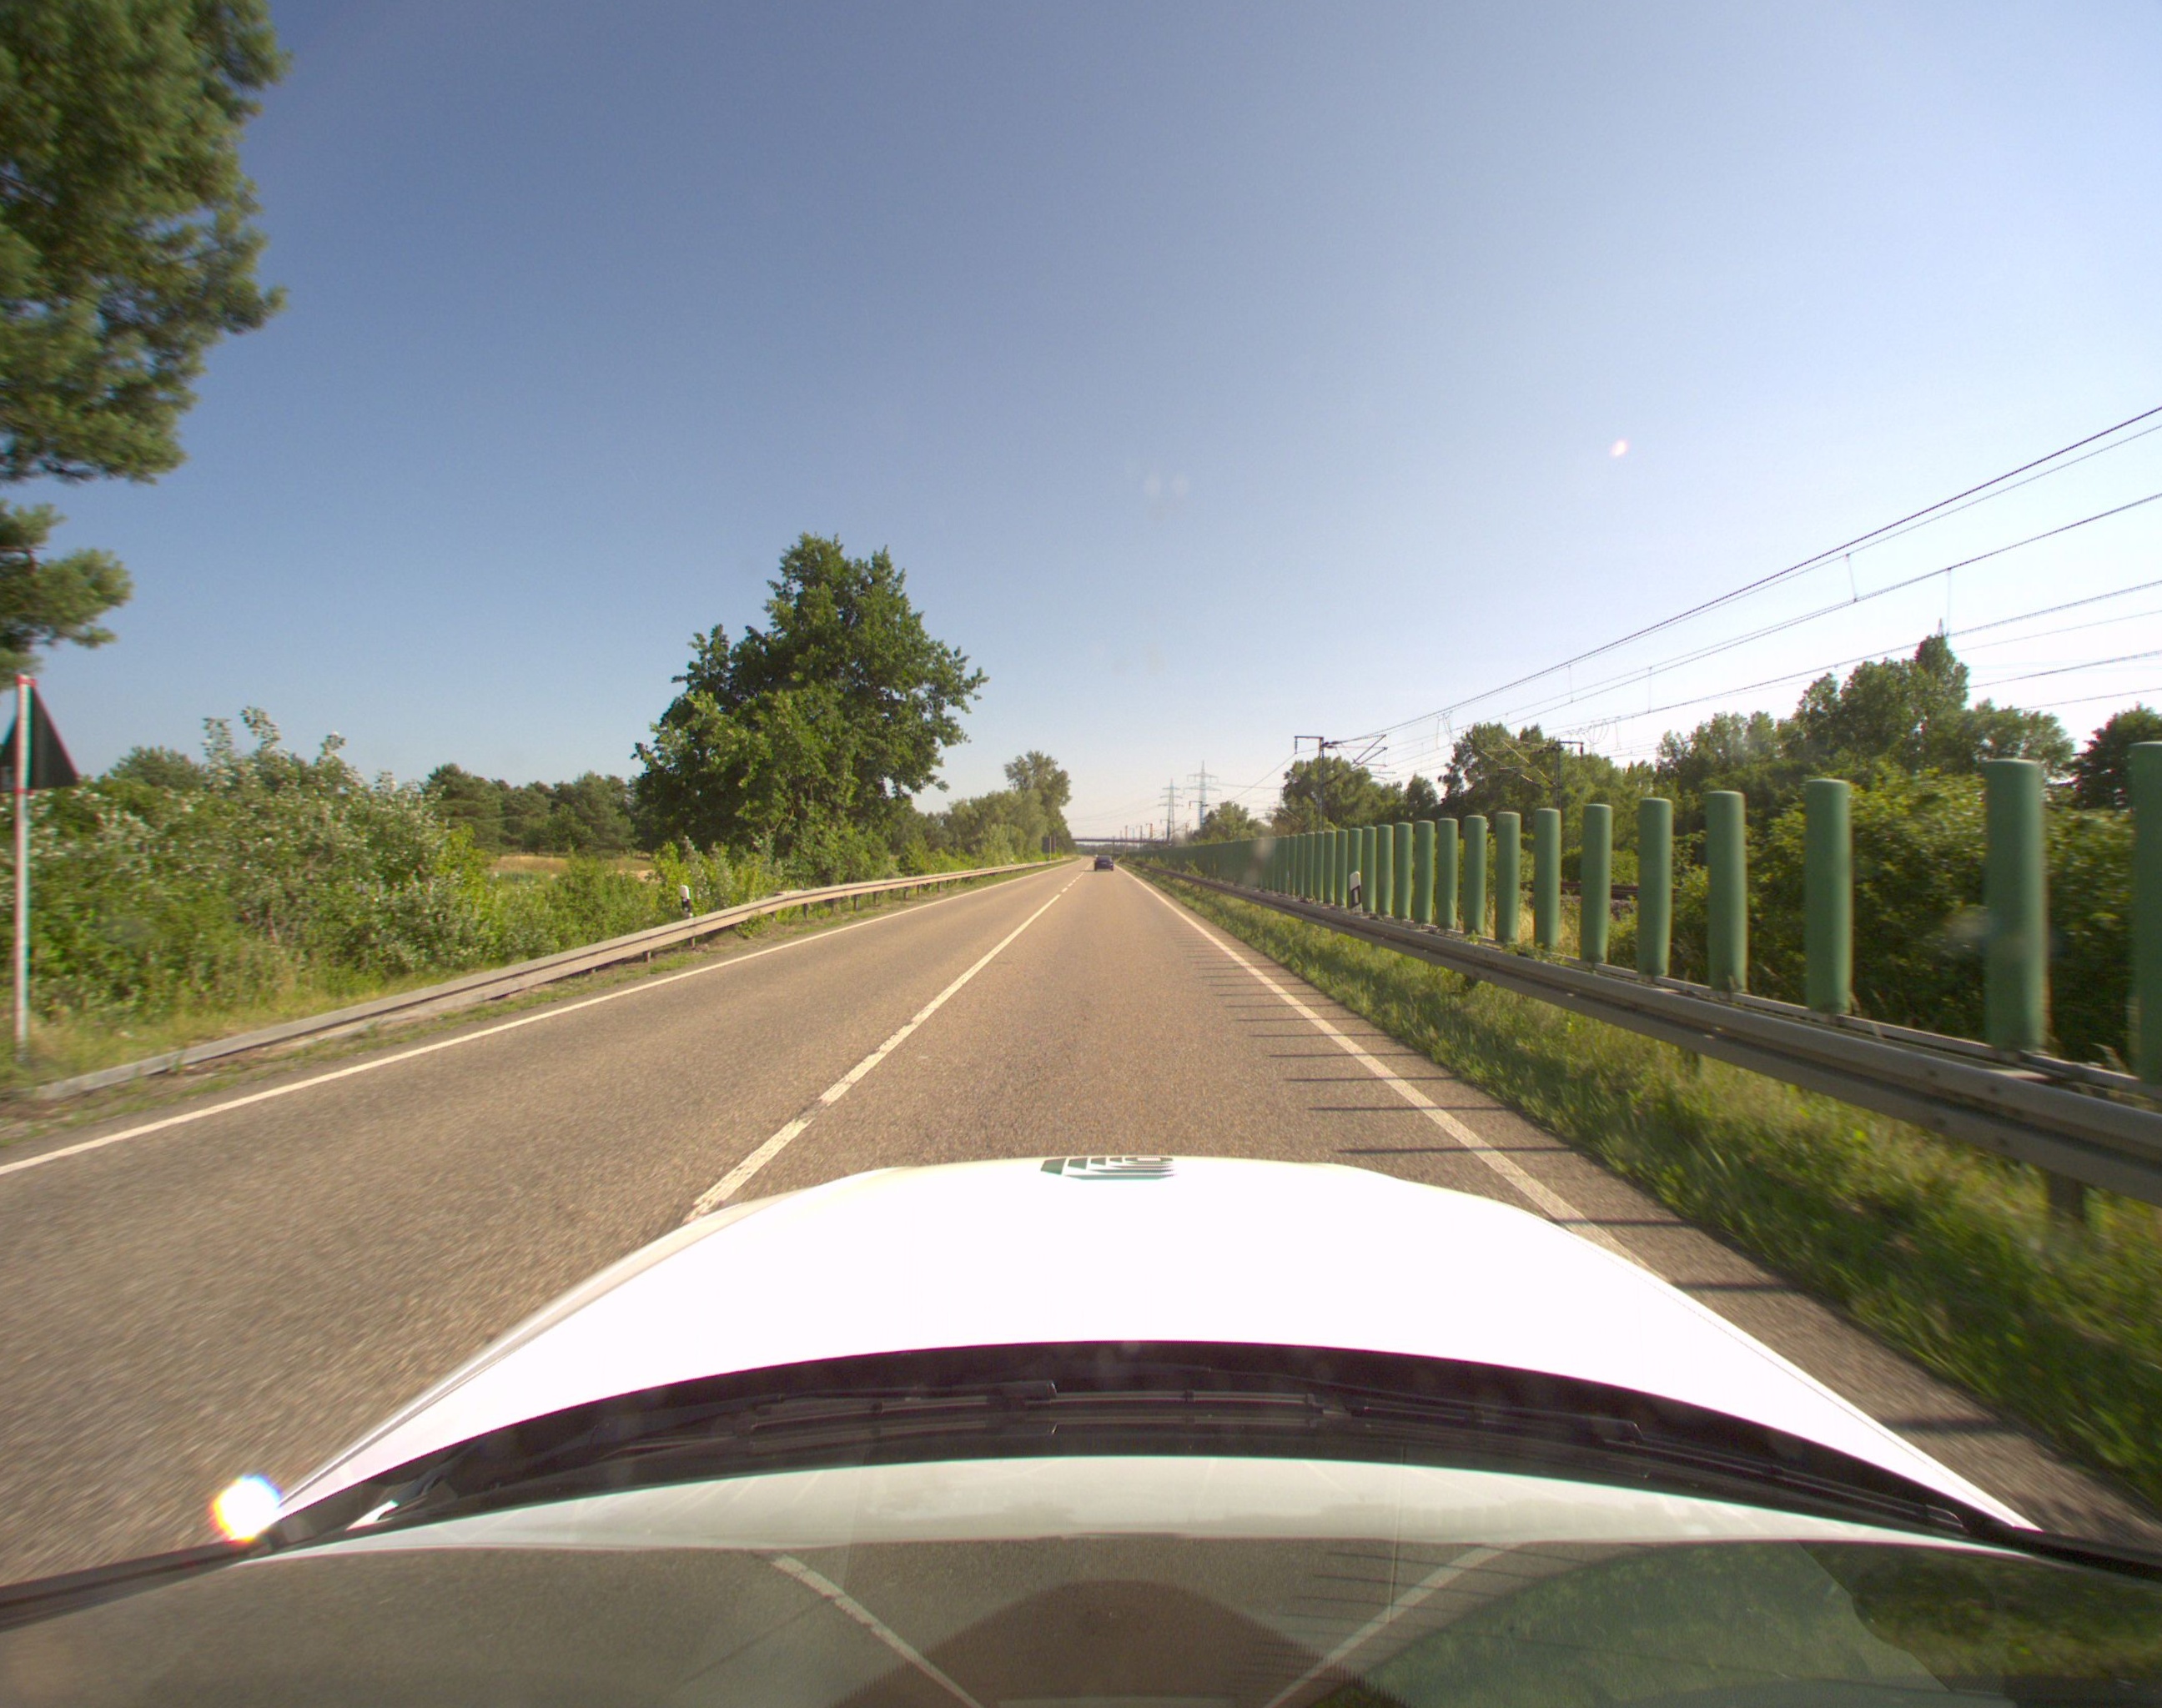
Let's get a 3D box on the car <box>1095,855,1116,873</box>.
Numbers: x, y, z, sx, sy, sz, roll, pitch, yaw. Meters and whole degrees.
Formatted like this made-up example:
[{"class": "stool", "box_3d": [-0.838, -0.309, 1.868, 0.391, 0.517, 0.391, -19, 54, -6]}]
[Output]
[{"class": "car", "box_3d": [2.310, 0.938, 77.691, 1.852, 1.642, 4.000, -1, 0, 0]}]
